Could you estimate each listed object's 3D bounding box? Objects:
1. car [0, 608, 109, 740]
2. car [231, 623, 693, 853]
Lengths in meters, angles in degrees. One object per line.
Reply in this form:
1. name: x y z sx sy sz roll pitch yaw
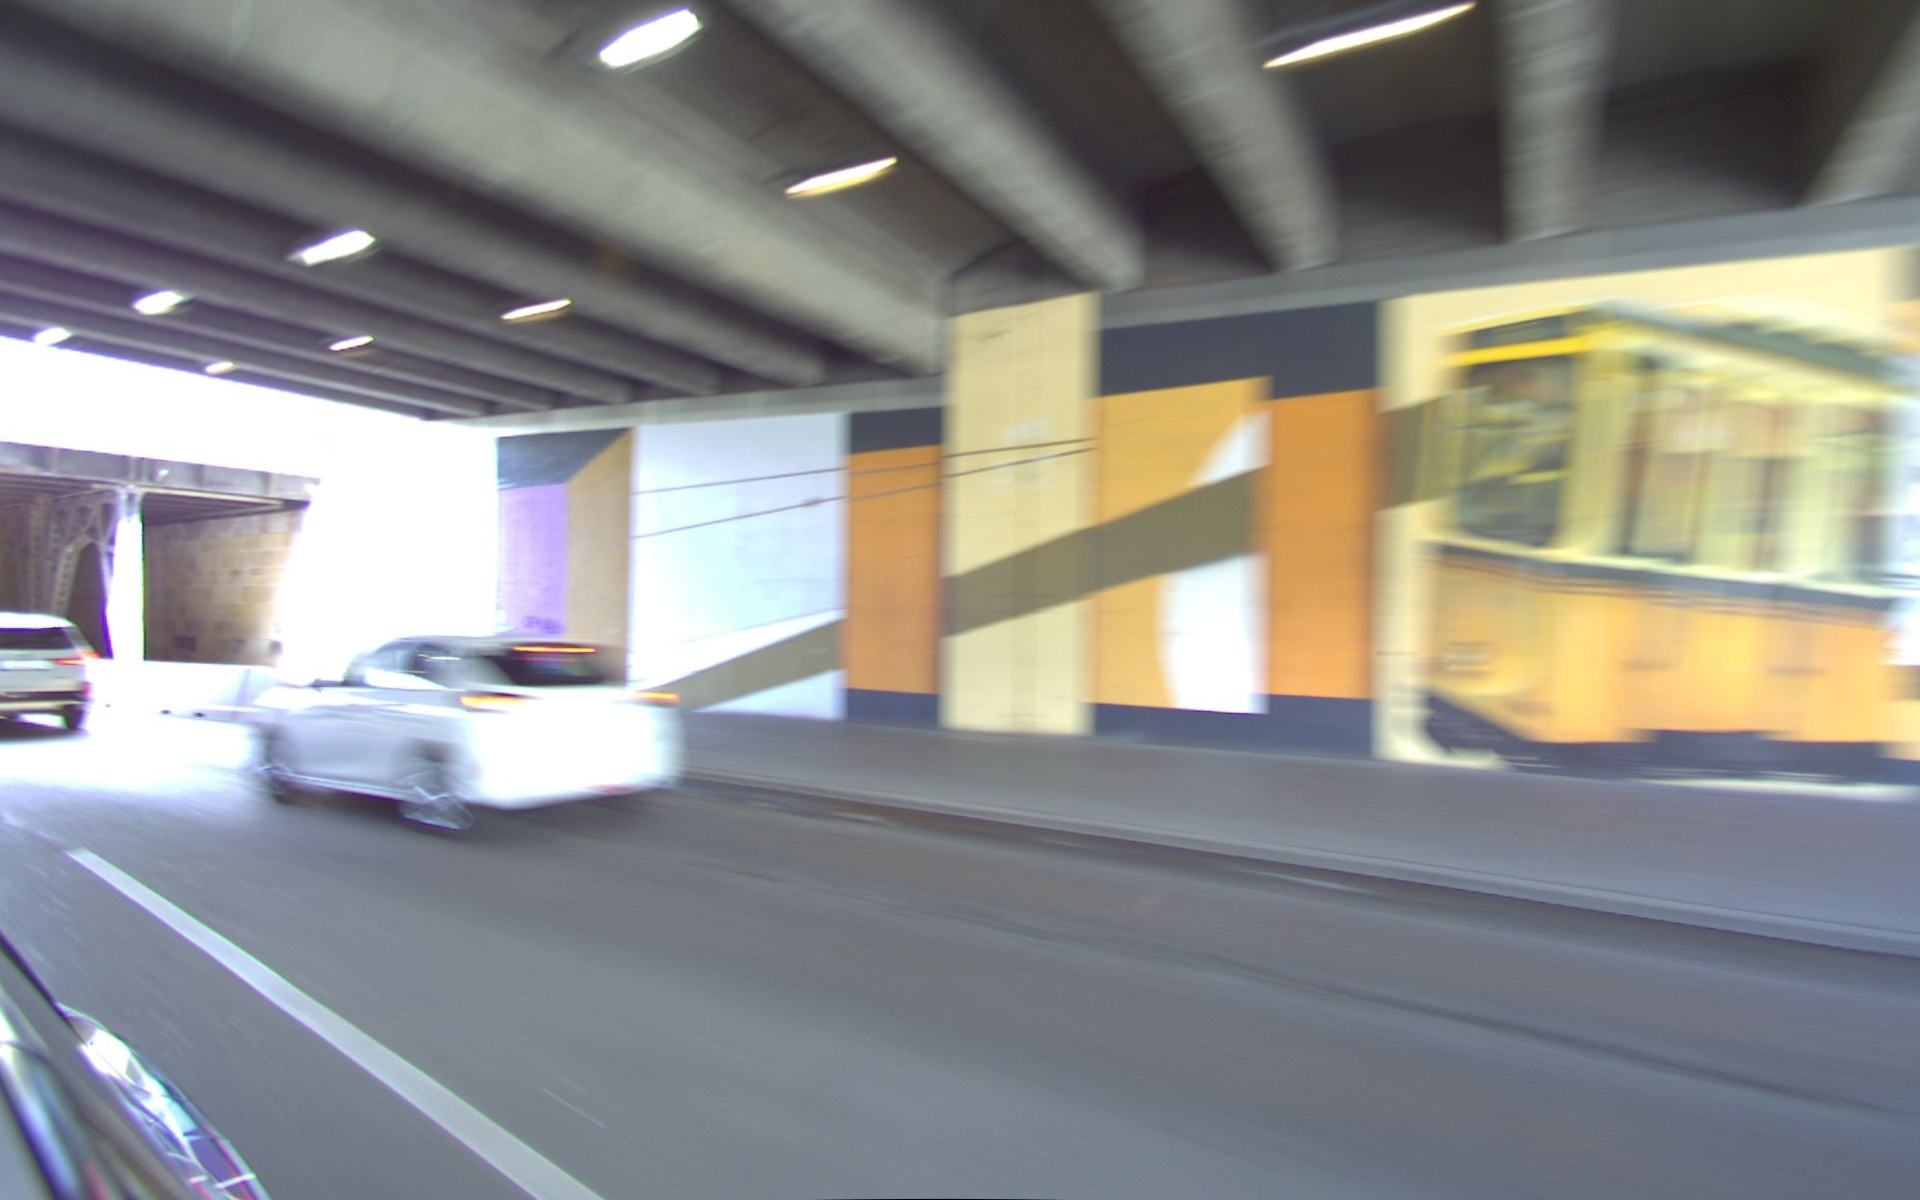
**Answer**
1. car: -13.866 0.972 14.191 4.202 1.666 1.810 -1 -3 33
2. car: -4.133 0.934 8.238 3.842 1.458 1.658 -1 -3 34
